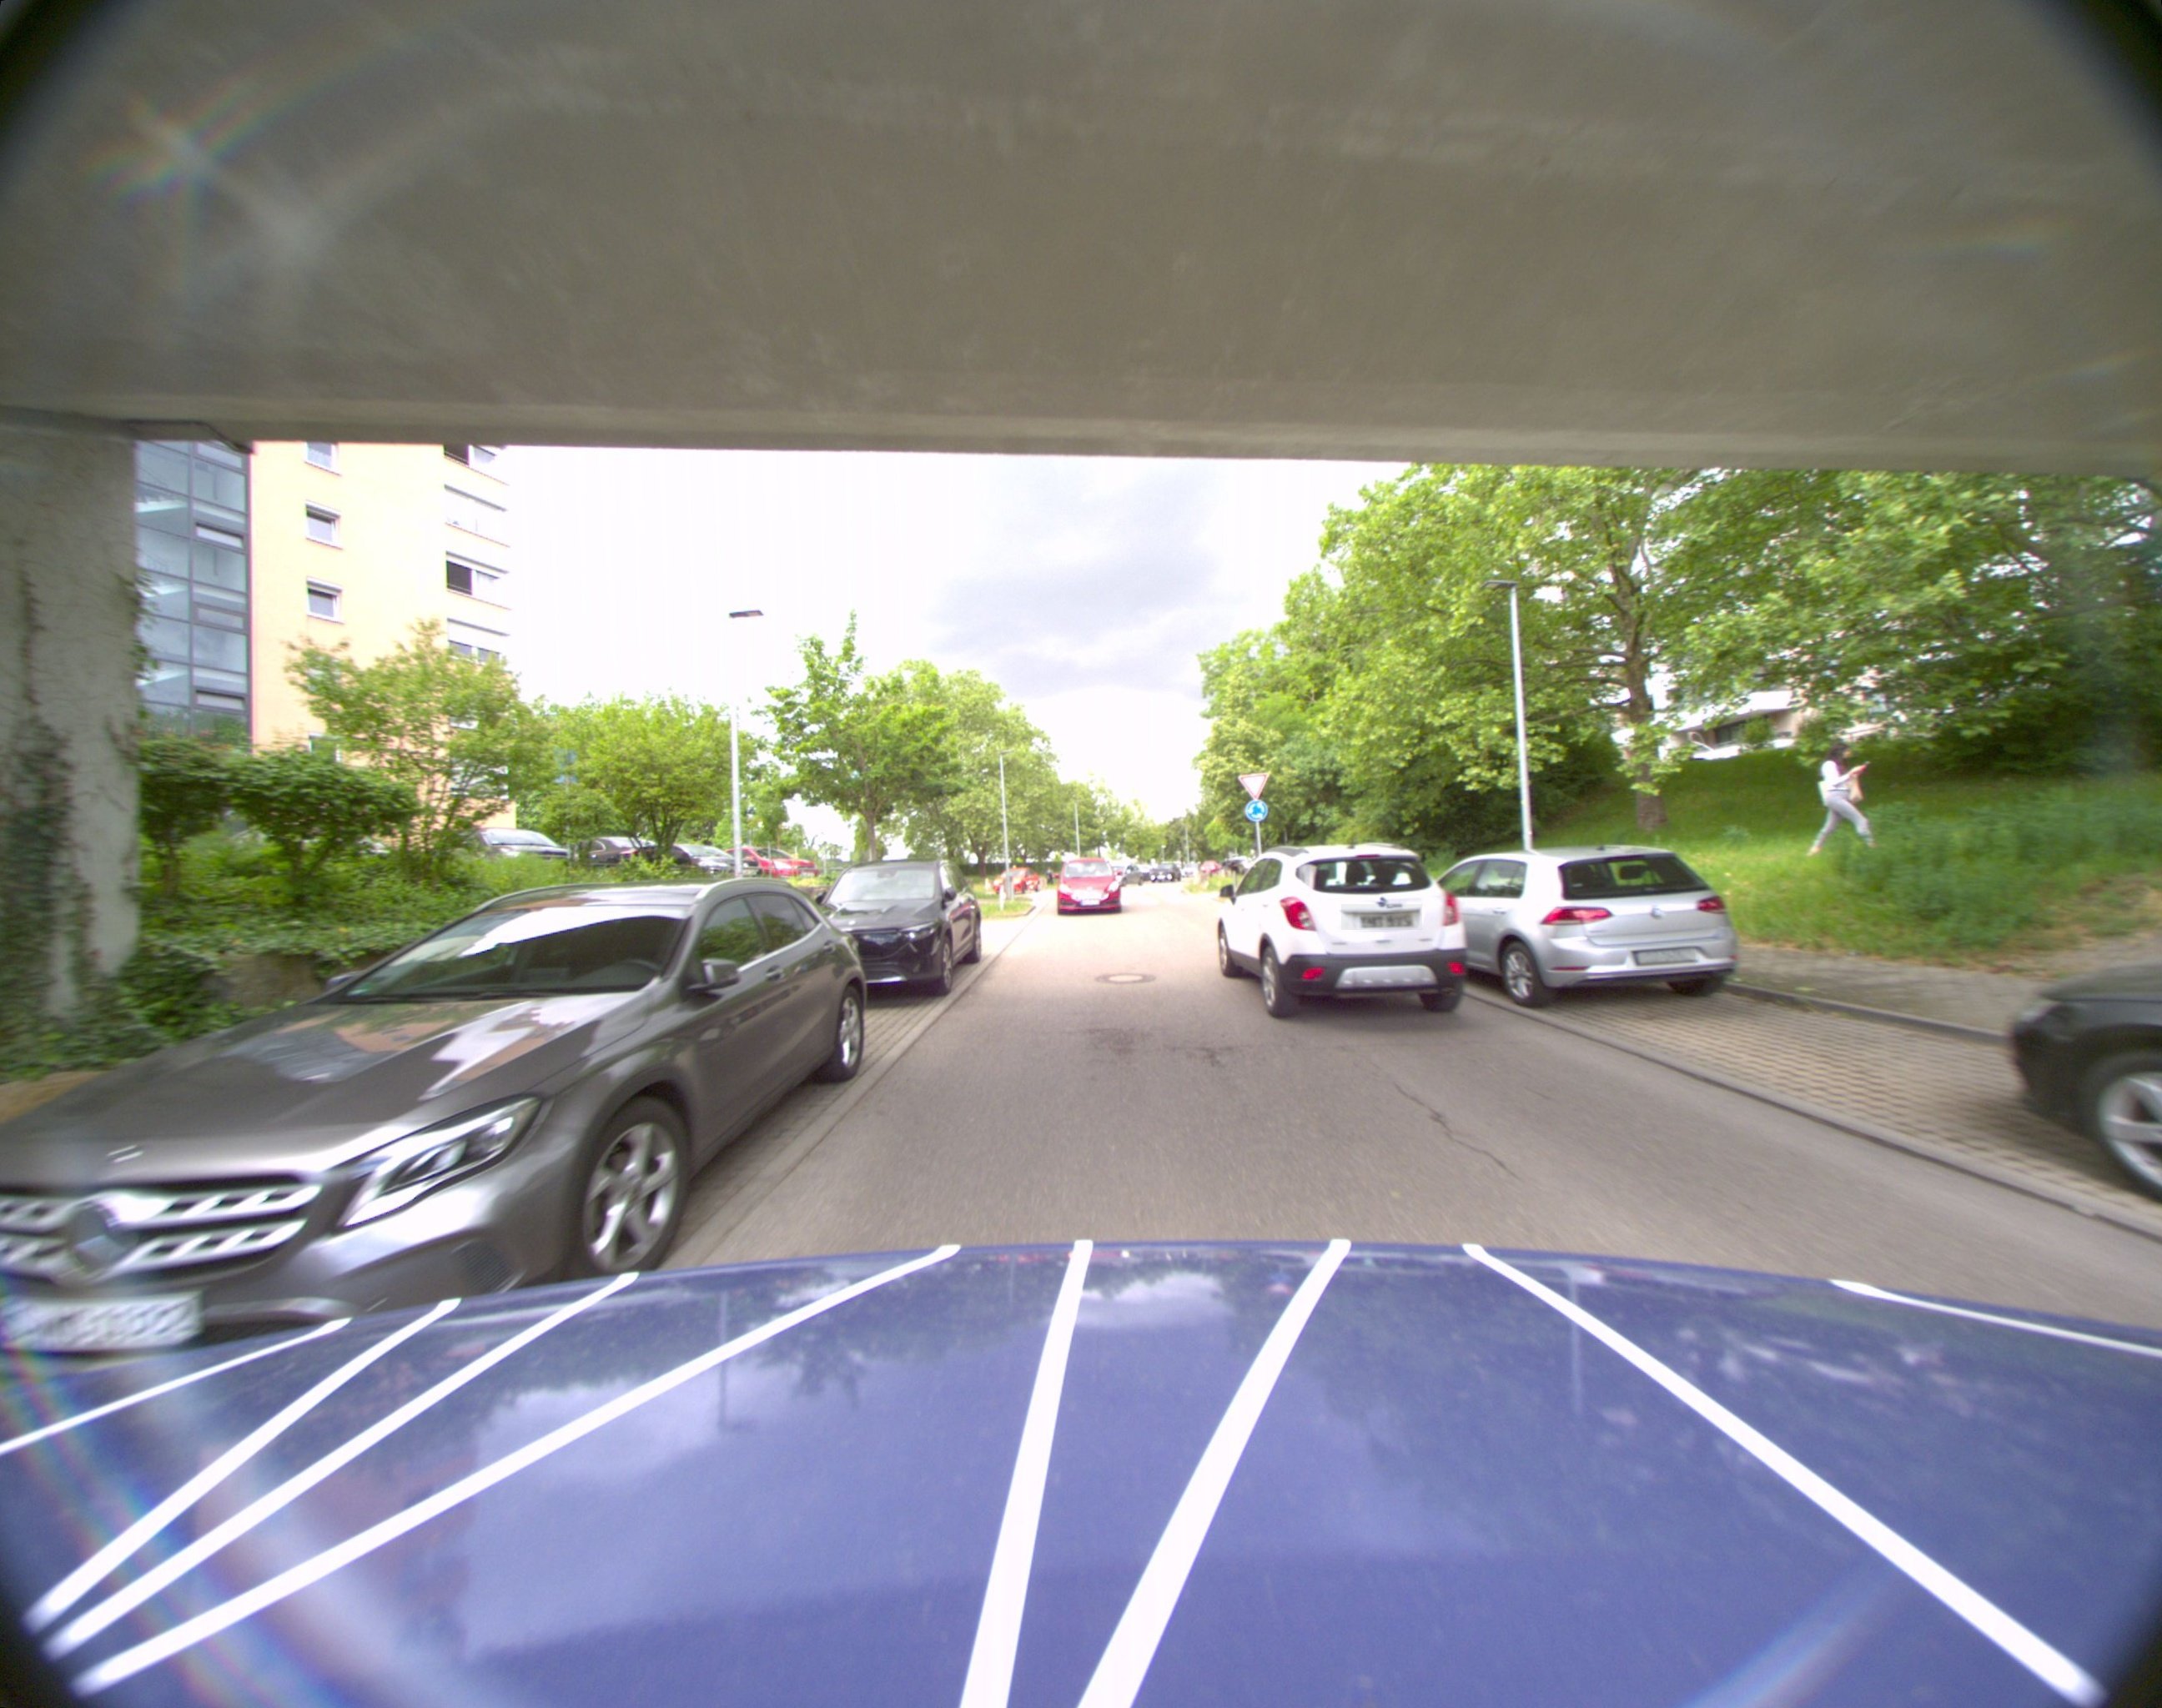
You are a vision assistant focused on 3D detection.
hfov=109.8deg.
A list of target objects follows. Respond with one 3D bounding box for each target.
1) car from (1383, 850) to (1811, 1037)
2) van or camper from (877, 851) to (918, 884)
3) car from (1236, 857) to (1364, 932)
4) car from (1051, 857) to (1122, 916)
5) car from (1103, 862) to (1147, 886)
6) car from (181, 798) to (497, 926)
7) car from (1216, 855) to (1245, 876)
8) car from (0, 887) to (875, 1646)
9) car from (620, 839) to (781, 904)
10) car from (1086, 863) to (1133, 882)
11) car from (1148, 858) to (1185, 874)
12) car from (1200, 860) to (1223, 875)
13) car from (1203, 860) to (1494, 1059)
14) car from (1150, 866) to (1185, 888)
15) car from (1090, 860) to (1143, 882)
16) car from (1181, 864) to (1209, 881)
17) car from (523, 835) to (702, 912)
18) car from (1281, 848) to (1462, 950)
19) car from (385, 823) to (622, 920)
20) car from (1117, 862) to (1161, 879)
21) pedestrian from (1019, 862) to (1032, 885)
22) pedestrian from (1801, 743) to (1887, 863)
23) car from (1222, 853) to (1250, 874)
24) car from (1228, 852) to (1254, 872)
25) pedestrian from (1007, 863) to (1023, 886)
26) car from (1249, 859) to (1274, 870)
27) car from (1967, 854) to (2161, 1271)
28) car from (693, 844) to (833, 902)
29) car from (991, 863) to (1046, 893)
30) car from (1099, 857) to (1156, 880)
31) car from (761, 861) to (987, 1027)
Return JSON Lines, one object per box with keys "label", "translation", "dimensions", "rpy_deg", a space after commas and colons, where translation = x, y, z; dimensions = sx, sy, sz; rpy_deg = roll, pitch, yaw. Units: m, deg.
{"label": "car", "translation": [5.010, 0.792, 8.219], "dimensions": [1.889, 1.418, 4.002], "rpy_deg": [-4, -2, 1]}
{"label": "van or camper", "translation": [-17.335, 1.265, 71.571], "dimensions": [2.119, 2.781, 4.470], "rpy_deg": [-3, -2, -36]}
{"label": "car", "translation": [5.140, 0.885, 18.395], "dimensions": [1.791, 1.460, 3.998], "rpy_deg": [-1, 1, -3]}
{"label": "car", "translation": [0.261, 0.945, 23.711], "dimensions": [1.978, 1.635, 4.537], "rpy_deg": [-1, -1, 3]}
{"label": "car", "translation": [3.093, 1.363, 52.434], "dimensions": [1.756, 1.506, 4.007], "rpy_deg": [-4, -2, 22]}
{"label": "car", "translation": [-12.280, 0.191, 12.592], "dimensions": [4.549, 1.658, 1.948], "rpy_deg": [-4, -2, 20]}
{"label": "car", "translation": [12.201, 0.911, 61.785], "dimensions": [1.692, 1.456, 4.463], "rpy_deg": [-7, -2, 17]}
{"label": "car", "translation": [-2.462, 1.015, 3.729], "dimensions": [1.704, 1.488, 4.119], "rpy_deg": [-2, 0, 0]}
{"label": "car", "translation": [-10.044, 0.486, 20.048], "dimensions": [3.791, 1.413, 1.687], "rpy_deg": [-4, -2, 23]}
{"label": "car", "translation": [2.363, 1.511, 62.995], "dimensions": [3.516, 1.452, 1.741], "rpy_deg": [-1, -1, 17]}
{"label": "car", "translation": [9.330, 1.348, 83.094], "dimensions": [3.674, 1.637, 1.854], "rpy_deg": [-2, -1, 19]}
{"label": "car", "translation": [15.478, 1.637, 90.194], "dimensions": [1.756, 1.606, 4.007], "rpy_deg": [-4, -2, 22]}
{"label": "car", "translation": [2.559, 0.912, 8.377], "dimensions": [1.752, 1.601, 4.052], "rpy_deg": [-2, -1, 0]}
{"label": "car", "translation": [7.175, 1.902, 62.605], "dimensions": [1.756, 1.606, 4.007], "rpy_deg": [-4, -2, 22]}
{"label": "car", "translation": [3.080, 1.483, 65.204], "dimensions": [4.156, 1.592, 1.741], "rpy_deg": [-4, -2, 16]}
{"label": "car", "translation": [11.660, 1.859, 77.587], "dimensions": [1.756, 1.606, 4.007], "rpy_deg": [-4, -2, 22]}
{"label": "car", "translation": [-10.884, 0.465, 17.656], "dimensions": [3.654, 1.489, 1.687], "rpy_deg": [-4, -2, 23]}
{"label": "car", "translation": [4.982, 0.691, 13.574], "dimensions": [1.889, 1.451, 3.546], "rpy_deg": [-4, 1, 2]}
{"label": "car", "translation": [-11.743, 0.384, 15.486], "dimensions": [3.992, 1.604, 1.948], "rpy_deg": [-4, -2, 20]}
{"label": "car", "translation": [5.531, 1.598, 72.782], "dimensions": [3.829, 1.511, 1.914], "rpy_deg": [-2, 0, 17]}
{"label": "pedestrian", "translation": [-4.010, 1.416, 54.982], "dimensions": [0.689, 1.646, 0.601], "rpy_deg": [-5, -2, 16]}
{"label": "pedestrian", "translation": [11.595, -0.748, 11.571], "dimensions": [0.658, 1.711, 0.741], "rpy_deg": [-4, -1, 31]}
{"label": "car", "translation": [13.683, 0.797, 67.043], "dimensions": [1.802, 1.605, 4.484], "rpy_deg": [-7, -1, 17]}
{"label": "car", "translation": [15.300, 0.746, 72.401], "dimensions": [1.810, 1.654, 4.443], "rpy_deg": [-7, -3, 17]}
{"label": "pedestrian", "translation": [-4.780, 1.483, 55.192], "dimensions": [0.870, 1.646, 0.594], "rpy_deg": [-4, -1, 16]}
{"label": "car", "translation": [29.764, 1.706, 125.552], "dimensions": [1.675, 1.630, 3.993], "rpy_deg": [-3, -2, -27]}
{"label": "car", "translation": [4.998, 0.722, 1.173], "dimensions": [1.890, 1.500, 4.451], "rpy_deg": [-4, 0, -3]}
{"label": "car", "translation": [-9.391, 0.569, 22.447], "dimensions": [3.654, 1.430, 1.687], "rpy_deg": [-4, -2, 23]}
{"label": "car", "translation": [-3.463, 1.350, 43.139], "dimensions": [1.757, 1.506, 4.005], "rpy_deg": [-4, -2, 15]}
{"label": "car", "translation": [4.145, 1.279, 67.567], "dimensions": [4.780, 1.821, 1.845], "rpy_deg": [-2, 0, 16]}
{"label": "car", "translation": [-2.416, 0.969, 10.085], "dimensions": [1.818, 1.668, 4.370], "rpy_deg": [-2, -1, -1]}
